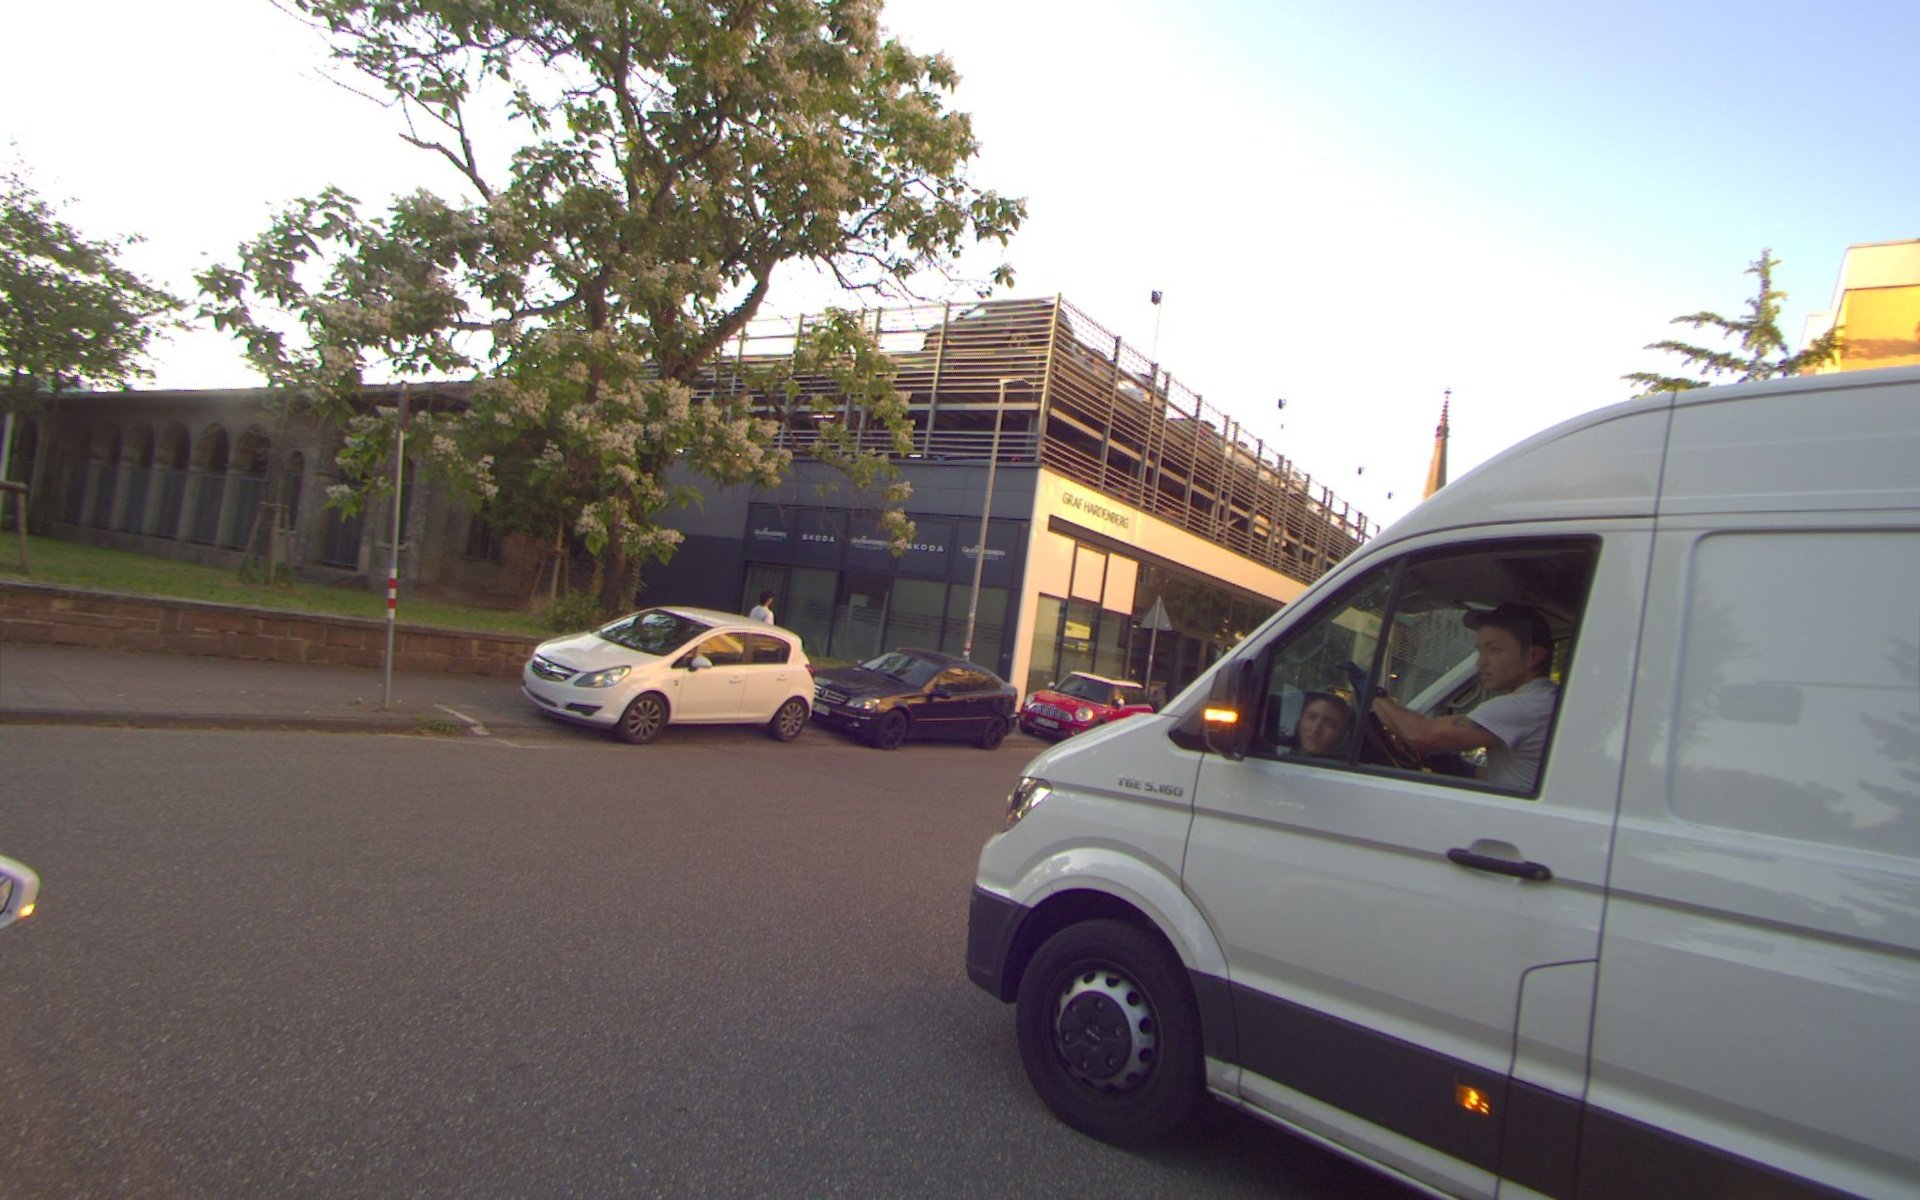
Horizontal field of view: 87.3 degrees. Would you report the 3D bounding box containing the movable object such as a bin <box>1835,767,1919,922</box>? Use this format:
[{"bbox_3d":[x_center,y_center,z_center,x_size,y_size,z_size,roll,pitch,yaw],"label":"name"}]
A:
[{"bbox_3d":[10.595,2.706,11.075,1.109,1.487,1.579,6,-2,33],"label":"movable object such as a bin"}]

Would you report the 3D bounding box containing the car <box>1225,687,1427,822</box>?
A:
[{"bbox_3d":[5.825,2.370,15.730,1.788,1.593,3.875,6,-3,37],"label":"car"}]

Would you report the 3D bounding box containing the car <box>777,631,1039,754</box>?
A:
[{"bbox_3d":[-0.682,1.568,16.333,1.641,1.432,4.403,13,1,36],"label":"car"}]

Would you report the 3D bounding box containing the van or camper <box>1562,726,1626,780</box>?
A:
[{"bbox_3d":[30.004,7.176,47.530,2.039,2.120,5.078,6,-2,36],"label":"van or camper"}]

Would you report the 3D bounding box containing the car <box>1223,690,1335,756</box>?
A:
[{"bbox_3d":[9.353,3.603,29.312,1.707,1.419,3.997,13,1,36],"label":"car"}]

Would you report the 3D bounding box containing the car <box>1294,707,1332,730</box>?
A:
[{"bbox_3d":[23.142,7.788,65.871,1.342,1.269,3.204,6,-2,38],"label":"car"}]

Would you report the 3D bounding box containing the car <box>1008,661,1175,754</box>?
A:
[{"bbox_3d":[2.820,2.245,20.853,1.640,1.427,3.920,12,1,34],"label":"car"}]

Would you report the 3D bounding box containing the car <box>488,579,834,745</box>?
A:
[{"bbox_3d":[-3.540,0.839,12.601,1.639,1.532,3.879,10,0,32],"label":"car"}]

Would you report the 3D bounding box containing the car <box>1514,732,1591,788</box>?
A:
[{"bbox_3d":[20.805,5.561,35.242,1.770,1.580,4.183,6,-3,37],"label":"car"}]

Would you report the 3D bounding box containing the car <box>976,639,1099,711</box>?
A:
[{"bbox_3d":[2.301,2.187,29.000,1.574,1.668,3.866,6,-3,37],"label":"car"}]

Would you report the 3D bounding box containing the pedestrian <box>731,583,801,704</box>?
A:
[{"bbox_3d":[-3.241,0.729,16.779,0.713,1.900,0.618,6,-1,39],"label":"pedestrian"}]

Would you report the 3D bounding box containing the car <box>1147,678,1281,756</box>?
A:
[{"bbox_3d":[6.521,3.015,25.574,1.641,1.515,3.874,13,1,38],"label":"car"}]

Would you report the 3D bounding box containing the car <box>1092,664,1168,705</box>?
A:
[{"bbox_3d":[7.769,3.855,45.677,1.677,1.450,3.910,6,-3,37],"label":"car"}]

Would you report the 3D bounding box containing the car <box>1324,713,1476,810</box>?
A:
[{"bbox_3d":[8.553,3.059,19.355,1.696,1.435,4.017,6,-3,37],"label":"car"}]

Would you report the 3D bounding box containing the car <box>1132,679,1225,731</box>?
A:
[{"bbox_3d":[8.032,3.866,36.802,1.678,1.531,3.983,6,-3,38],"label":"car"}]

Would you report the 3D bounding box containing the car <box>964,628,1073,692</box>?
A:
[{"bbox_3d":[1.978,2.002,33.182,1.677,1.677,3.728,6,-3,37],"label":"car"}]

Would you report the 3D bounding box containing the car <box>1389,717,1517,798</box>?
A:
[{"bbox_3d":[11.312,3.567,22.972,1.788,1.432,3.885,6,-3,38],"label":"car"}]

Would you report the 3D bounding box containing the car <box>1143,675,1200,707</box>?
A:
[{"bbox_3d":[10.508,4.527,49.964,1.403,1.269,3.204,6,-2,38],"label":"car"}]

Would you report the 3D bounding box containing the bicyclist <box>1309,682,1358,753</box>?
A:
[{"bbox_3d":[10.343,3.257,27.832,0.848,1.829,1.014,6,-2,36],"label":"bicyclist"}]

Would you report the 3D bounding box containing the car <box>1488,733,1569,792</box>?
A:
[{"bbox_3d":[17.846,5.061,31.484,1.591,1.477,4.044,6,-3,37],"label":"car"}]

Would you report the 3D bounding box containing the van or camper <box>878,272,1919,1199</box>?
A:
[{"bbox_3d":[2.972,0.802,2.441,6.782,2.617,2.088,6,-4,45],"label":"van or camper"}]
